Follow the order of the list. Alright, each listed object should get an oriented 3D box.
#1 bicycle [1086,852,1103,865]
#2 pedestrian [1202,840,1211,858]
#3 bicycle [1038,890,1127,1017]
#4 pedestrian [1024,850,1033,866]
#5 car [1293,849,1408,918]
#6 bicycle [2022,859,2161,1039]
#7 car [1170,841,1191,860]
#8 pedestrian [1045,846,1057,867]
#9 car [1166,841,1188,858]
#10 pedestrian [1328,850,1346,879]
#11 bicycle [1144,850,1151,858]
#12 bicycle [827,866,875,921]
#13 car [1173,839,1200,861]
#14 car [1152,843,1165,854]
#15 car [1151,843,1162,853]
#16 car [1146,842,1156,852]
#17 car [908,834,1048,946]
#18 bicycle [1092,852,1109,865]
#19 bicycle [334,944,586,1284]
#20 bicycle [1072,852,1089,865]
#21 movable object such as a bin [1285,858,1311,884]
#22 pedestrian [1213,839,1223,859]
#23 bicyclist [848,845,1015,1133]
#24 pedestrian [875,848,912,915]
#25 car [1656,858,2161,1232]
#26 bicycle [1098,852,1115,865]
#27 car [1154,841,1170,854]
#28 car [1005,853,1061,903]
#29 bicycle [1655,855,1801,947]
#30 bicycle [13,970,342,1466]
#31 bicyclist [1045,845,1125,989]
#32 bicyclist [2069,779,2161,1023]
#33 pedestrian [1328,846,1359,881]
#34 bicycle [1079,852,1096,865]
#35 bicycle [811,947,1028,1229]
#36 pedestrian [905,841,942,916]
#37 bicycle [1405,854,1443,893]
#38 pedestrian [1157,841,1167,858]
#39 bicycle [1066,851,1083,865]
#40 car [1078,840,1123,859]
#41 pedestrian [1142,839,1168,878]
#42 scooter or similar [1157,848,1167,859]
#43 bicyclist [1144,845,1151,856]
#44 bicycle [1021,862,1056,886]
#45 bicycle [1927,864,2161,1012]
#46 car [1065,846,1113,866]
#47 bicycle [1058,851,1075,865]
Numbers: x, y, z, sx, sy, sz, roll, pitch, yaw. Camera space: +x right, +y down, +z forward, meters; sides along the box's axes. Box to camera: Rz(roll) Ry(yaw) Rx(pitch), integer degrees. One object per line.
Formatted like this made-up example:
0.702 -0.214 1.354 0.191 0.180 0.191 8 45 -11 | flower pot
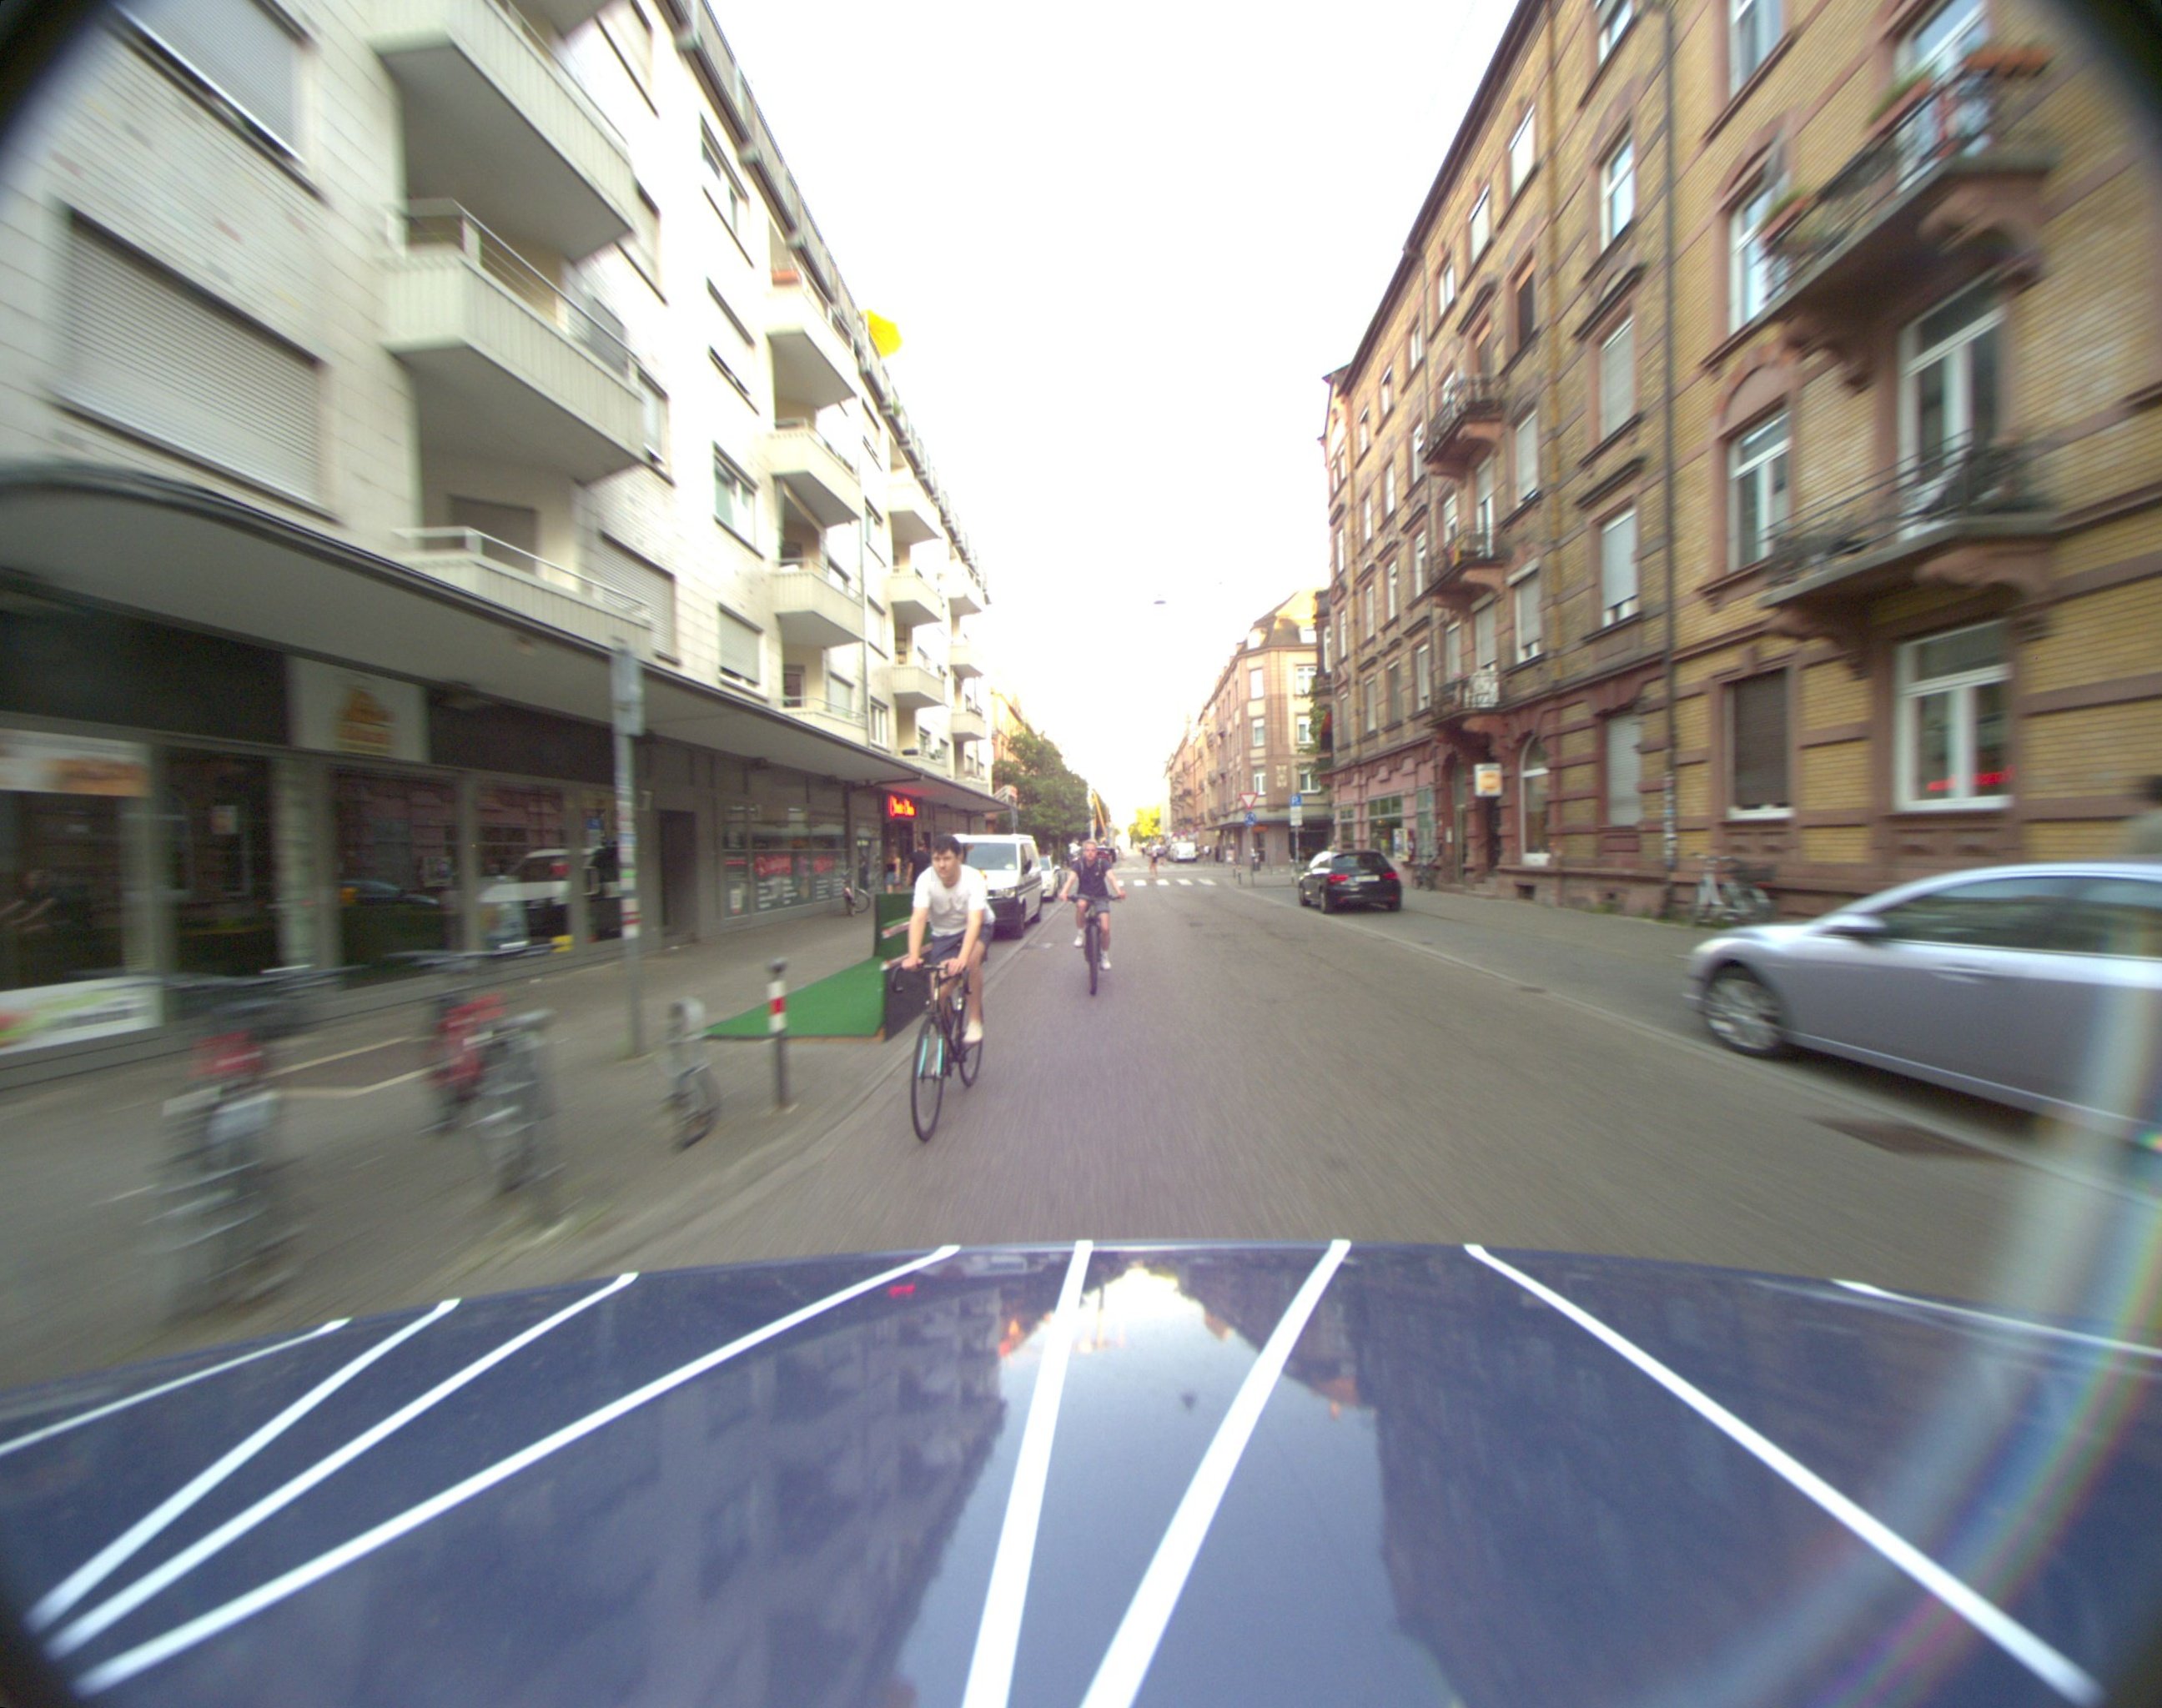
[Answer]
1.179 0.384 66.878 0.666 1.125 2.111 0 1 -24 | bicycle
12.422 -0.506 75.399 0.748 1.734 1.213 -2 1 7 | pedestrian
0.086 1.059 8.789 0.793 1.133 2.344 -2 0 5 | bicycle
-4.406 0.320 64.012 0.641 1.265 0.674 -3 2 -11 | pedestrian
6.274 0.620 18.107 1.697 1.412 3.856 -2 0 6 | car
8.071 0.682 5.563 0.708 1.190 1.744 -1 2 22 | bicycle
10.684 -0.387 81.595 1.879 1.893 4.327 -2 1 4 | car
-2.383 0.197 59.755 0.537 1.597 0.870 0 0 30 | pedestrian
10.971 -0.513 87.162 2.140 1.811 4.541 -2 1 4 | car
10.198 0.412 30.284 0.504 1.137 0.791 -2 2 5 | pedestrian
10.444 0.018 119.096 0.754 1.124 1.975 -2 0 -3 | bicycle
-5.571 0.933 18.498 0.913 1.189 1.709 0 1 -10 | bicycle
10.439 -0.423 75.458 2.141 1.947 4.769 -2 1 2 | car
13.311 -0.987 130.447 1.997 1.729 4.000 -2 2 6 | car
13.464 -1.078 135.350 1.997 1.729 4.000 -2 2 6 | car
14.375 -1.432 156.299 1.907 1.729 3.850 -2 2 6 | car
-1.935 0.618 15.964 1.963 1.962 5.003 0 1 4 | car
1.690 0.372 67.319 0.666 1.162 2.111 0 1 -24 | bicycle
-3.285 1.159 3.947 1.939 1.128 0.658 2 2 40 | bicycle
-0.027 0.360 66.240 0.666 1.125 2.111 0 1 -24 | bicycle
8.354 0.652 29.287 0.763 0.910 0.729 -2 2 0 | movable object such as a bin
12.195 -0.435 67.470 0.654 1.768 0.693 -2 0 21 | pedestrian
-0.829 0.719 4.482 0.650 1.500 0.953 -2 2 6 | bicyclist
-4.782 0.691 19.389 0.710 1.656 0.744 0 2 3 | pedestrian
5.375 0.820 3.773 1.726 1.412 4.582 -3 1 3 | car
2.250 0.377 67.162 0.666 1.162 2.111 0 1 -24 | bicycle
12.313 -0.975 115.911 2.140 1.811 4.541 -2 1 4 | car
-1.531 0.750 25.157 1.596 1.492 3.423 0 1 1 | car
9.366 0.632 11.119 0.528 1.164 2.048 -3 0 6 | bicycle
-3.581 1.187 3.066 1.939 1.128 0.658 2 2 40 | bicycle
0.070 0.697 8.789 0.793 1.562 0.826 -2 1 5 | bicyclist
8.049 0.311 5.524 0.708 1.720 0.844 -1 2 22 | bicyclist
10.107 0.362 29.285 0.650 1.247 0.907 -5 1 -12 | pedestrian
0.587 0.376 66.565 0.666 1.125 2.111 0 1 -24 | bicycle
-0.818 1.213 4.484 0.657 1.012 1.918 -2 2 6 | bicycle
-3.969 0.598 19.177 0.710 1.818 0.860 0 2 3 | pedestrian
10.016 0.560 22.228 0.426 1.047 1.899 -2 1 7 | bicycle
7.851 -0.445 73.574 0.809 1.650 0.672 -1 1 -4 | pedestrian
-0.567 0.346 65.982 0.666 1.158 2.111 0 1 -24 | bicycle
2.521 -0.634 98.261 5.151 2.182 2.334 -3 2 -22 | car
3.472 0.210 35.748 1.047 1.800 0.757 -2 -1 14 | pedestrian
7.856 -0.053 73.582 0.809 1.098 1.171 -1 1 -4 | scooter or similar
10.423 -0.520 119.091 0.754 1.631 1.201 -2 0 -3 | bicyclist
-1.786 0.832 32.146 1.421 0.978 0.510 0 2 0 | bicycle
8.886 0.678 6.810 0.740 1.117 1.610 -3 1 -3 | bicycle
0.759 0.174 69.668 4.005 1.659 1.823 -3 2 -28 | car
-1.245 0.332 65.706 0.666 1.158 2.111 0 1 -24 | bicycle
